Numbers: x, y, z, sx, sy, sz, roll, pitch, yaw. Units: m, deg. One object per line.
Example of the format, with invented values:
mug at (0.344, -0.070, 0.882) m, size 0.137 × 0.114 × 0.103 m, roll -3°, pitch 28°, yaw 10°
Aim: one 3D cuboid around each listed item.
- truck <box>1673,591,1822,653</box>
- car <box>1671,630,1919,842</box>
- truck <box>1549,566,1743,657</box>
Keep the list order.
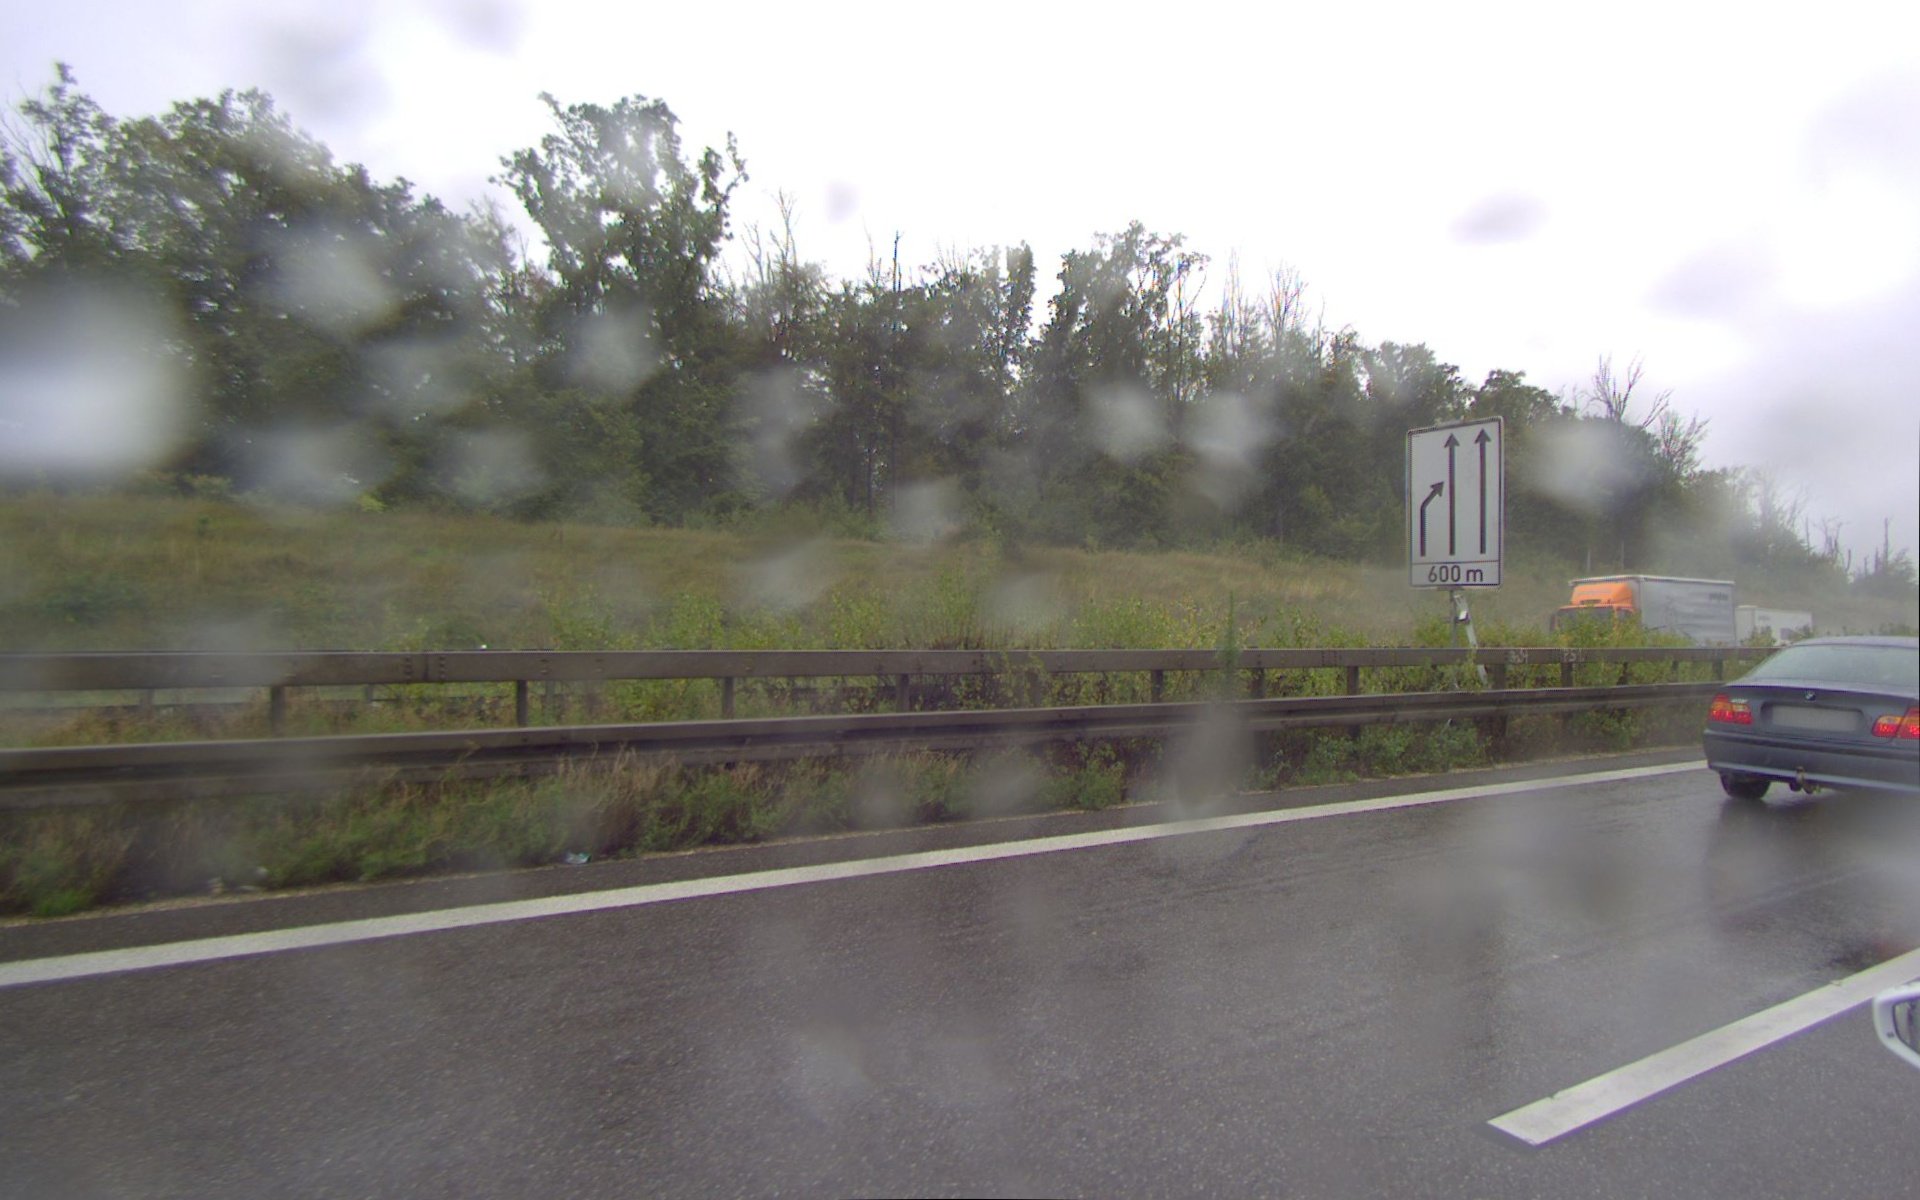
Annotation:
truck at (34.824, 0.994, 44.325) m, size 7.804 × 2.513 × 2.637 m, roll 2°, pitch 0°, yaw -32°
car at (8.080, 1.000, 8.580) m, size 4.180 × 1.418 × 1.710 m, roll 1°, pitch -1°, yaw -30°
truck at (27.456, 0.462, 40.030) m, size 9.150 × 3.325 × 2.910 m, roll 1°, pitch 0°, yaw -32°
